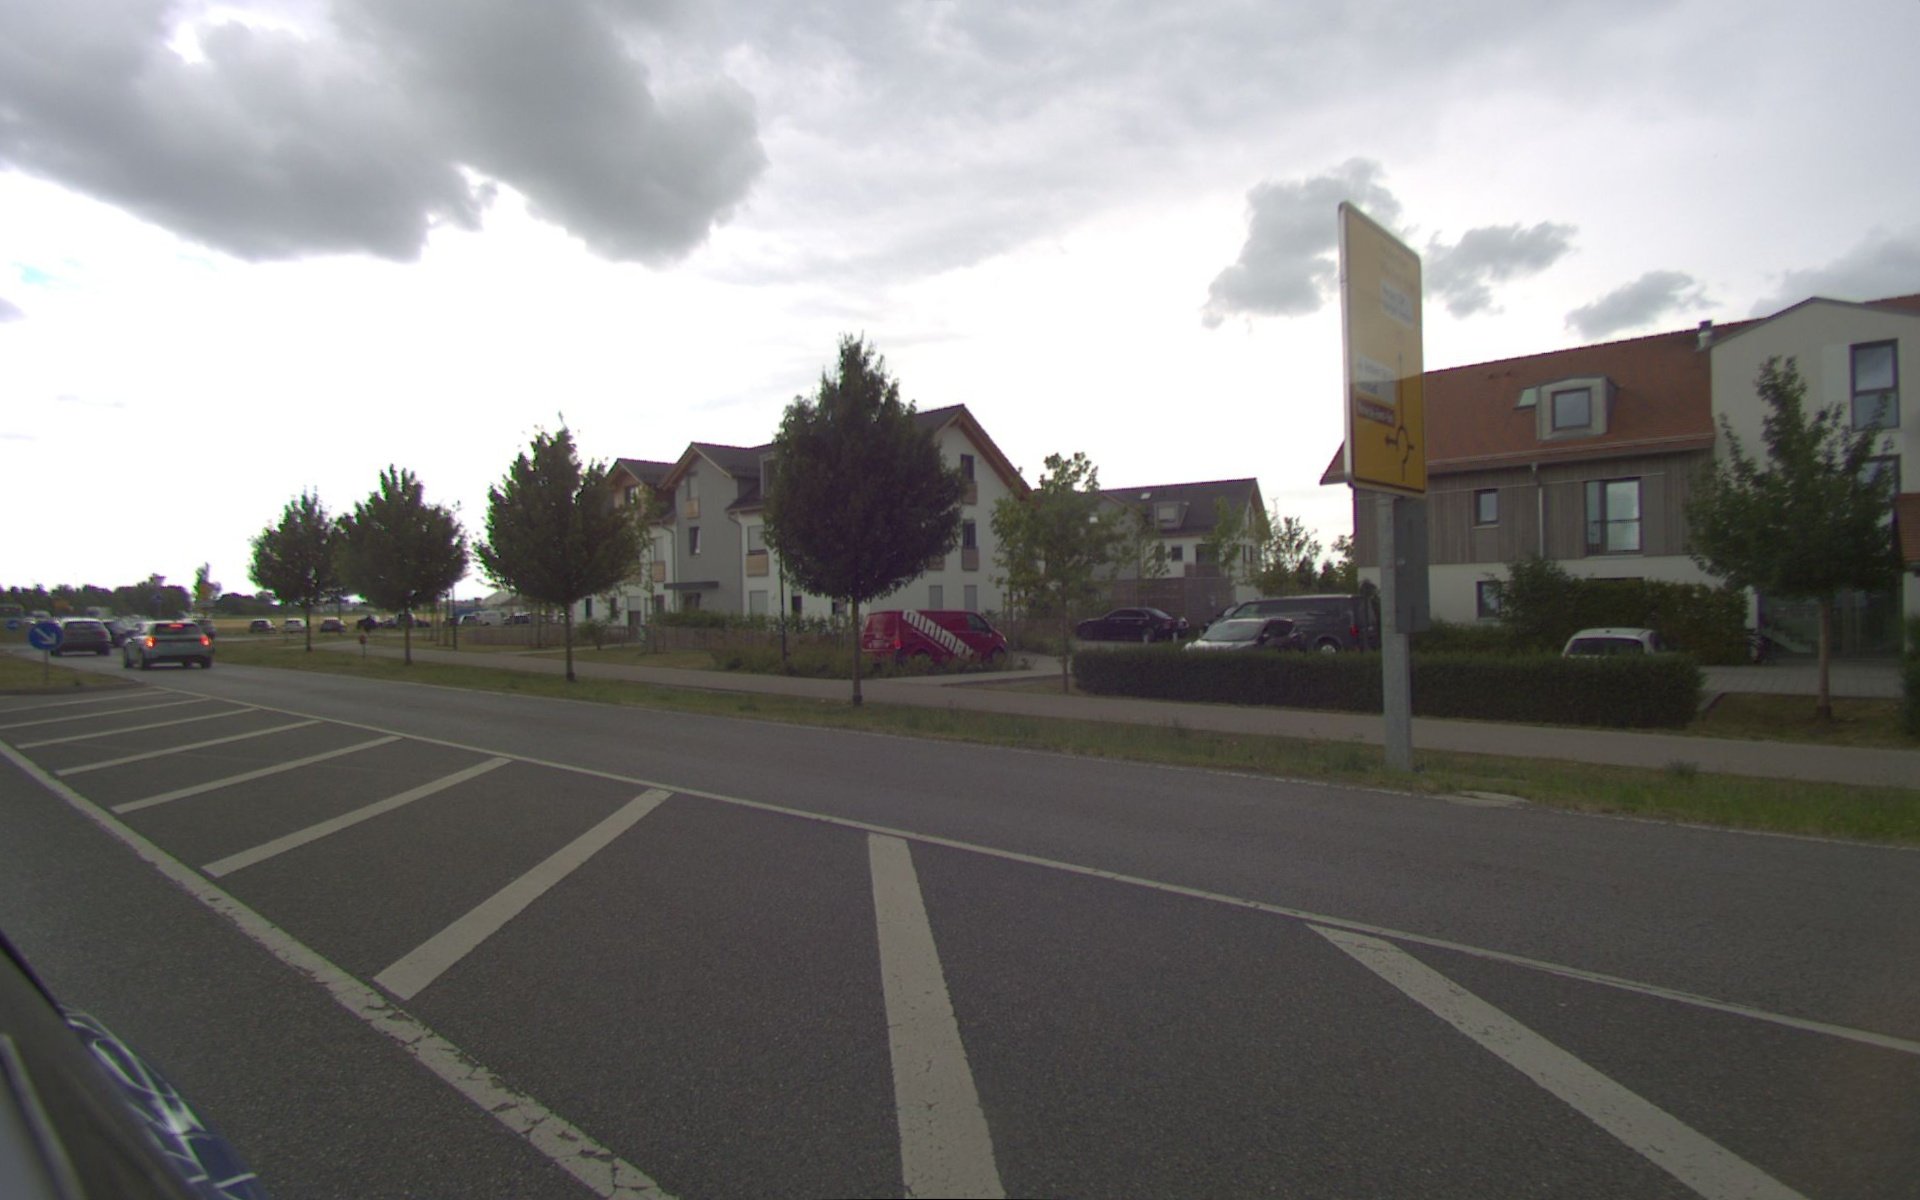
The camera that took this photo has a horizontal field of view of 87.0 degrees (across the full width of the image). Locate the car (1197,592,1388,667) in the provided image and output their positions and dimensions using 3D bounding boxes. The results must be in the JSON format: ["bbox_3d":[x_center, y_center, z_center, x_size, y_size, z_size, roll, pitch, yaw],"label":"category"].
[{"bbox_3d":[10.139,0.889,31.155,5.202,2.028,1.972,-2,2,44],"label":"car"}]

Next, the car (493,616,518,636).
[{"bbox_3d":[-47.186,2.660,105.113,2.194,2.029,4.013,0,-2,-21],"label":"car"}]

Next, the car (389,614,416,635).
[{"bbox_3d":[-55.025,2.405,99.807,1.966,2.029,4.011,1,-2,-34],"label":"car"}]

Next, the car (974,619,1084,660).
[{"bbox_3d":[2.702,1.547,40.257,3.998,1.519,1.972,-2,-2,41],"label":"car"}]

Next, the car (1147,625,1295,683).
[{"bbox_3d":[7.219,1.407,27.701,1.906,1.441,4.853,-2,-2,42],"label":"car"}]

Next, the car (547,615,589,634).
[{"bbox_3d":[-42.958,2.655,110.862,1.991,2.029,3.961,-1,-2,29],"label":"car"}]

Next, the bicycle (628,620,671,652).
[{"bbox_3d":[-13.815,1.596,44.983,2.342,1.423,0.675,-2,-2,41],"label":"bicycle"}]

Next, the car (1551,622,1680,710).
[{"bbox_3d":[12.419,1.174,19.085,1.562,1.500,3.478,-2,-2,41],"label":"car"}]

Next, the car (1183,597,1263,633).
[{"bbox_3d":[12.291,0.715,47.218,2.000,1.598,3.943,-2,-2,43],"label":"car"}]

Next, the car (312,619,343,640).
[{"bbox_3d":[-61.115,2.830,97.861,1.965,2.029,4.013,0,-2,-24],"label":"car"}]

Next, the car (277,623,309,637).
[{"bbox_3d":[-63.563,2.875,96.477,1.965,1.298,4.013,0,-2,-24],"label":"car"}]

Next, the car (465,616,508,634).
[{"bbox_3d":[-53.318,2.804,113.975,1.994,2.029,3.956,-1,-2,32],"label":"car"}]

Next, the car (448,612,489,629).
[{"bbox_3d":[-58.140,2.412,119.761,1.991,2.029,3.961,-1,-2,29],"label":"car"}]

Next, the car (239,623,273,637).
[{"bbox_3d":[-66.384,2.800,95.469,1.965,1.298,4.013,0,-2,-24],"label":"car"}]

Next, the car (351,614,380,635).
[{"bbox_3d":[-57.972,2.403,98.738,1.965,2.029,4.013,0,-2,-24],"label":"car"}]

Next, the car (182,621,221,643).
[{"bbox_3d":[-52.785,2.233,70.394,1.803,1.500,4.220,1,-2,-42],"label":"car"}]

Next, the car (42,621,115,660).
[{"bbox_3d":[-37.510,1.711,43.050,4.214,1.594,1.806,-2,-2,42],"label":"car"}]

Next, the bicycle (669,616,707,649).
[{"bbox_3d":[-12.432,1.484,46.226,2.093,1.439,0.675,-2,-2,41],"label":"bicycle"}]

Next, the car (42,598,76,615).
[{"bbox_3d":[-79.152,0.601,88.878,3.998,1.455,1.751,-2,-2,41],"label":"car"}]

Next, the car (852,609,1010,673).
[{"bbox_3d":[-0.821,1.220,31.258,4.847,1.830,1.908,1,-2,-44],"label":"car"}]

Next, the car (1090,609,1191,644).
[{"bbox_3d":[8.017,1.186,45.110,3.998,1.519,1.972,-2,-2,41],"label":"car"}]

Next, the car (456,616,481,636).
[{"bbox_3d":[-50.795,2.673,104.650,1.965,2.029,4.013,0,-2,-21],"label":"car"}]

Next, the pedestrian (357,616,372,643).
[{"bbox_3d":[-34.395,1.714,58.471,0.586,1.541,0.540,-2,1,41],"label":"pedestrian"}]

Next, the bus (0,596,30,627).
[{"bbox_3d":[-103.999,1.292,110.543,6.483,3.305,2.952,-2,-2,42],"label":"bus"}]

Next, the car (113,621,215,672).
[{"bbox_3d":[-24.393,1.399,30.977,3.998,1.455,1.751,-2,-2,41],"label":"car"}]
